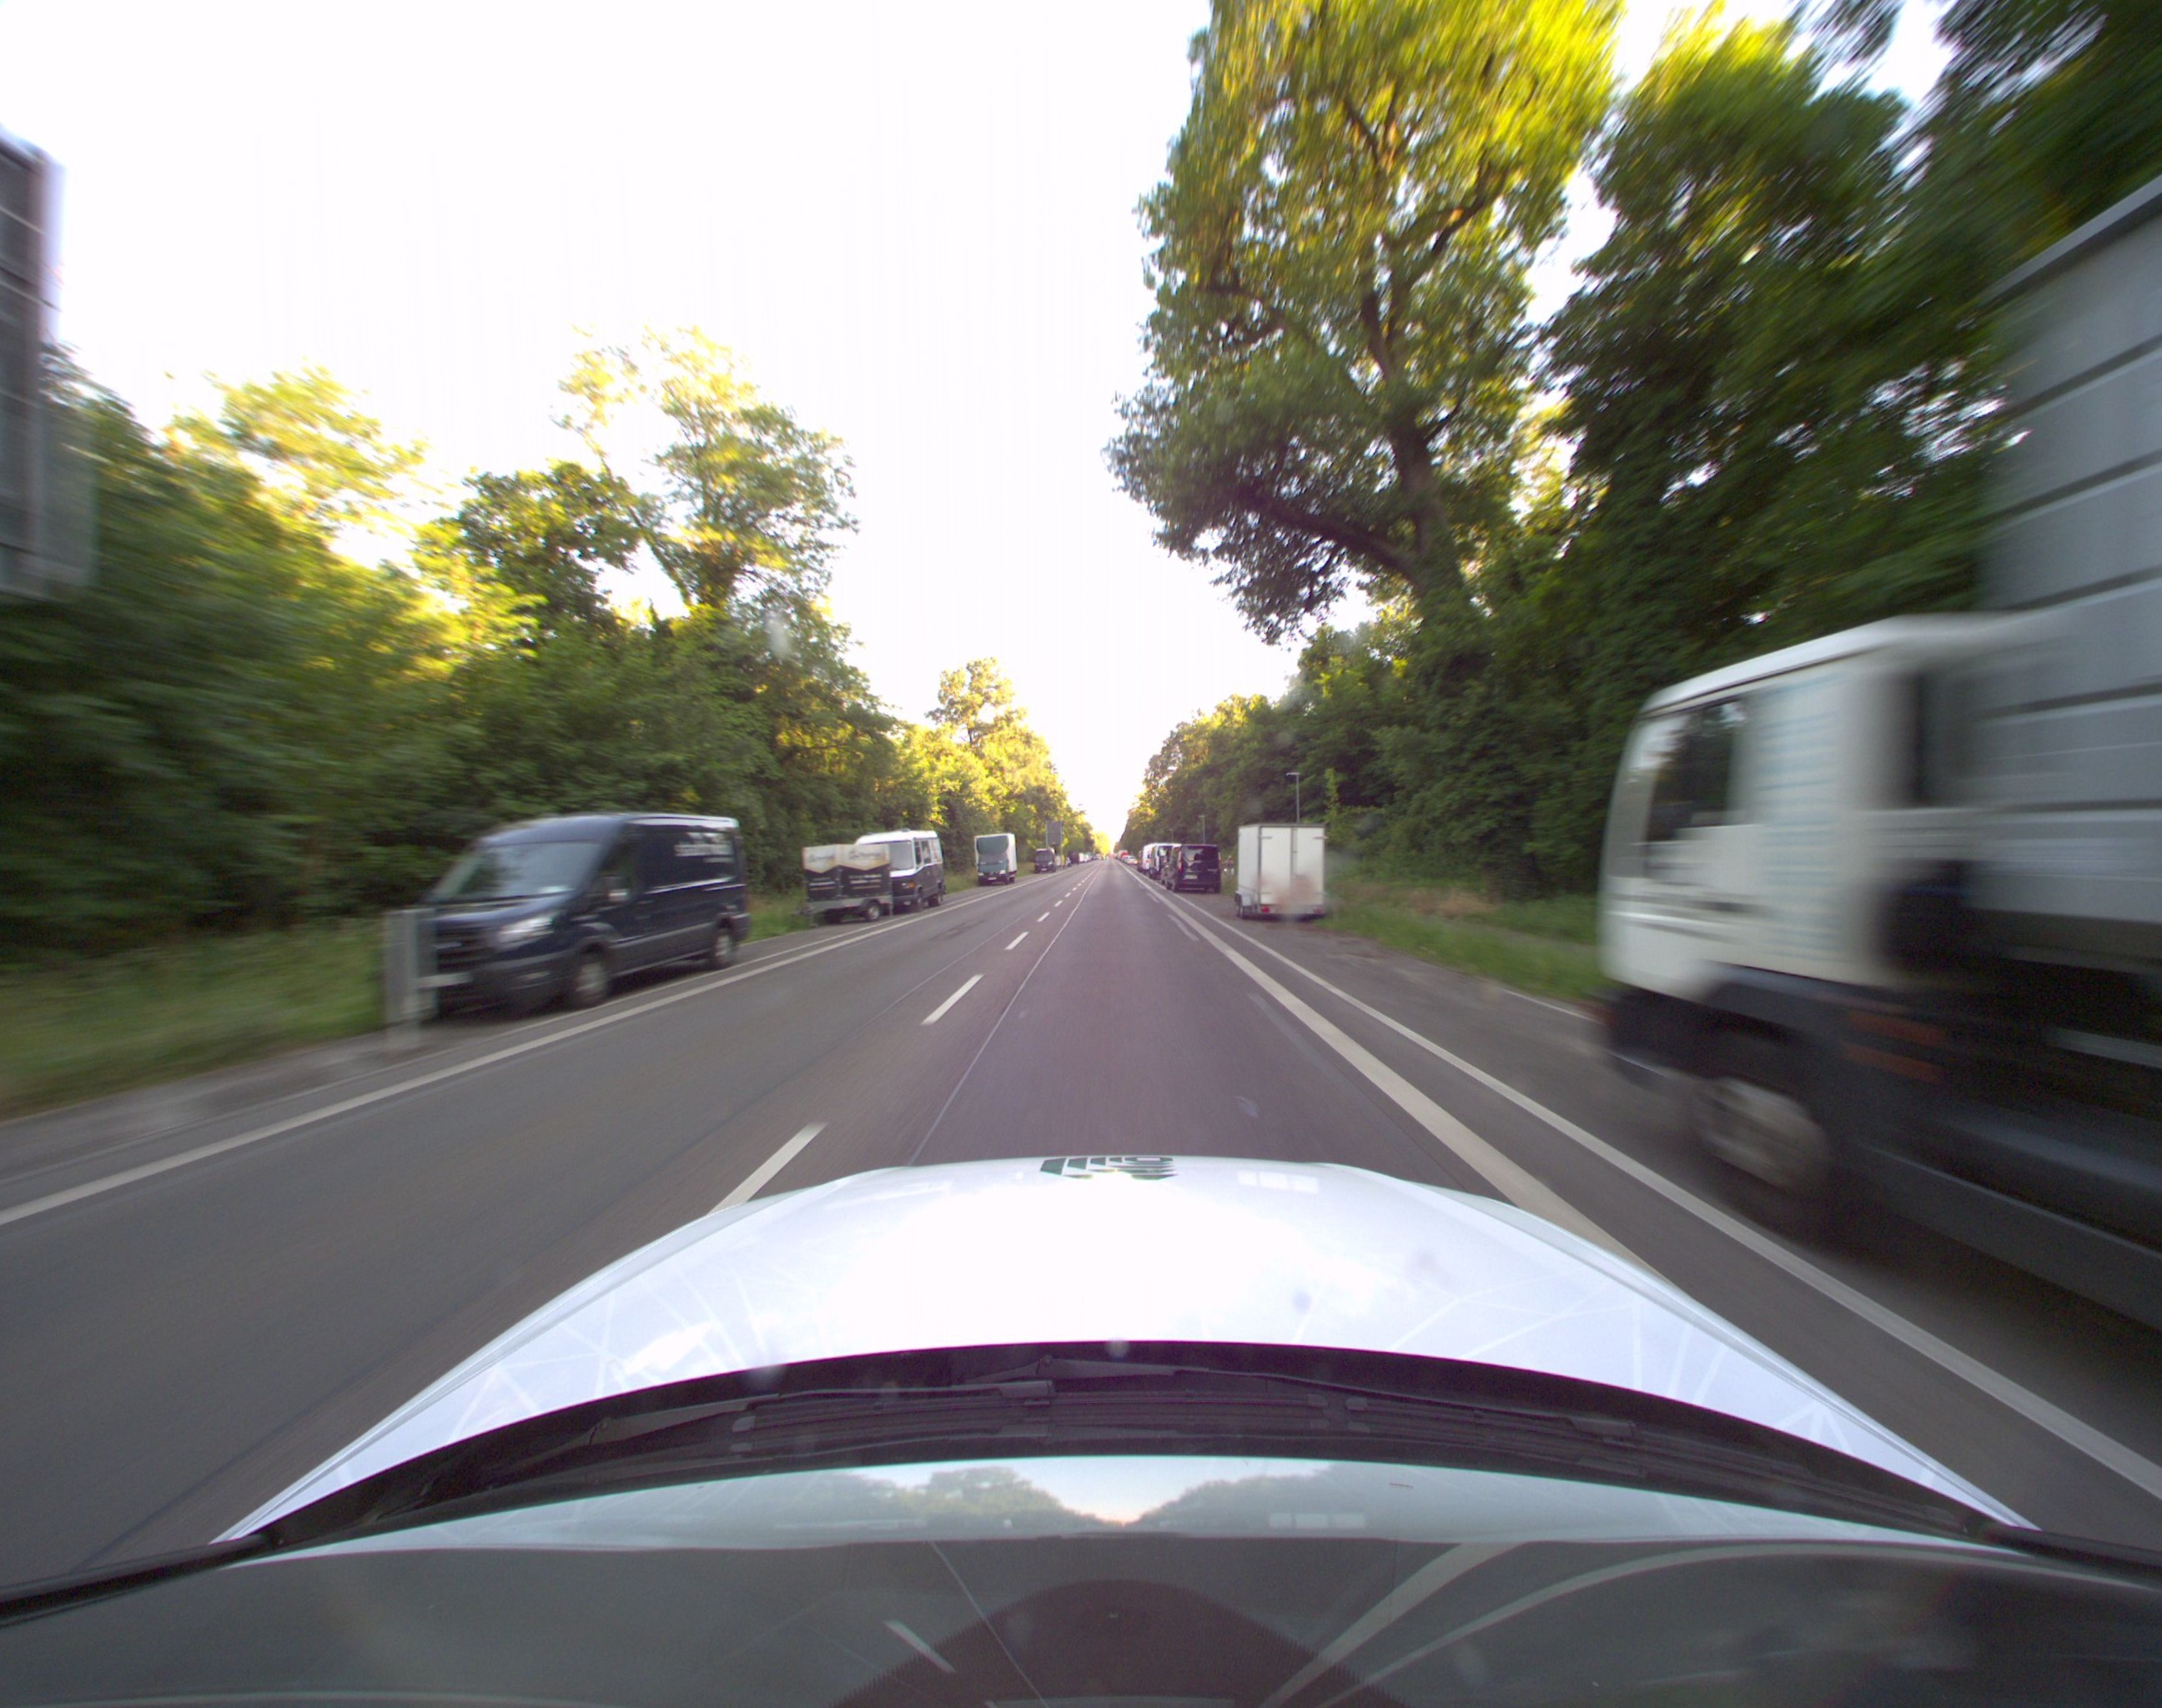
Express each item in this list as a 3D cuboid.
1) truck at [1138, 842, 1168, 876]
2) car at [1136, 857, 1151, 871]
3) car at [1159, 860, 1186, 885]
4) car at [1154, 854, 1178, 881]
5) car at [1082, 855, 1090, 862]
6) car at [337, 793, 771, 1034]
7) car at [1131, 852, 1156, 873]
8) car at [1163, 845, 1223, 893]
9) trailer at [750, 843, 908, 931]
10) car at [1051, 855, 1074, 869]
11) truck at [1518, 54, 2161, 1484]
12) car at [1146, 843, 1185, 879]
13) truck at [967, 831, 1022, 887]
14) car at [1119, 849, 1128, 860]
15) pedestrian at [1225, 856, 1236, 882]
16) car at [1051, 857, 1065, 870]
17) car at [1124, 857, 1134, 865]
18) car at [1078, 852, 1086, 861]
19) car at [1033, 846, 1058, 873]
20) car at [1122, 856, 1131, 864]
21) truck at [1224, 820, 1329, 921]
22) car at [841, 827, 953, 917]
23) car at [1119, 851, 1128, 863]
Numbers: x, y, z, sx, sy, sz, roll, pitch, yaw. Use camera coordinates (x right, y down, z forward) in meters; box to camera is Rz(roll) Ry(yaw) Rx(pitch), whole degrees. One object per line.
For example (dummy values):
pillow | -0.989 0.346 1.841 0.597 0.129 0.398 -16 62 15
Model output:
truck | 5.917 0.407 67.471 2.135 2.660 4.298 0 -1 0
car | 5.615 0.882 73.311 1.143 1.252 2.753 0 -1 0
car | 4.868 0.966 43.420 1.143 1.252 2.753 0 -1 0
car | 5.070 0.782 48.770 1.143 1.546 2.753 0 -1 0
car | 1.323 1.331 233.652 1.985 2.013 4.003 -2 0 3
car | -6.555 0.627 11.312 1.986 2.364 5.768 -4 0 2
car | 5.980 0.802 78.430 1.987 1.955 4.298 0 -1 0
car | 4.739 0.622 35.121 1.987 1.955 4.298 0 -1 0
trailer | -6.735 0.823 22.221 1.945 2.155 3.951 -3 0 23
car | -2.716 1.120 117.578 1.684 2.013 4.023 0 0 25
truck | 3.716 -0.199 1.222 2.578 3.255 7.226 0 -1 3
car | 5.617 0.475 54.380 2.135 2.313 4.298 0 -1 0
truck | -5.536 0.314 53.322 2.495 3.329 6.844 -3 0 2
car | 13.429 0.219 257.812 2.732 3.120 5.742 -2 -2 2
pedestrian | 8.479 0.853 46.288 0.464 1.417 0.717 -2 -1 2
car | -3.060 1.235 109.225 1.765 1.672 4.000 0 0 0
car | 7.801 1.080 132.355 1.422 1.222 3.413 -4 0 2
car | 0.214 0.719 195.511 1.988 2.014 3.998 -2 -2 -1
car | -3.784 0.595 87.949 2.178 2.788 5.336 -3 0 2
car | 8.415 1.109 150.089 1.639 1.486 4.002 0 0 2
truck | 4.813 0.397 20.611 1.877 2.283 4.304 0 -1 4
car | -6.071 0.564 27.739 2.241 2.647 5.723 -3 0 2
car | 11.218 0.783 214.281 2.305 3.093 5.641 0 0 2
